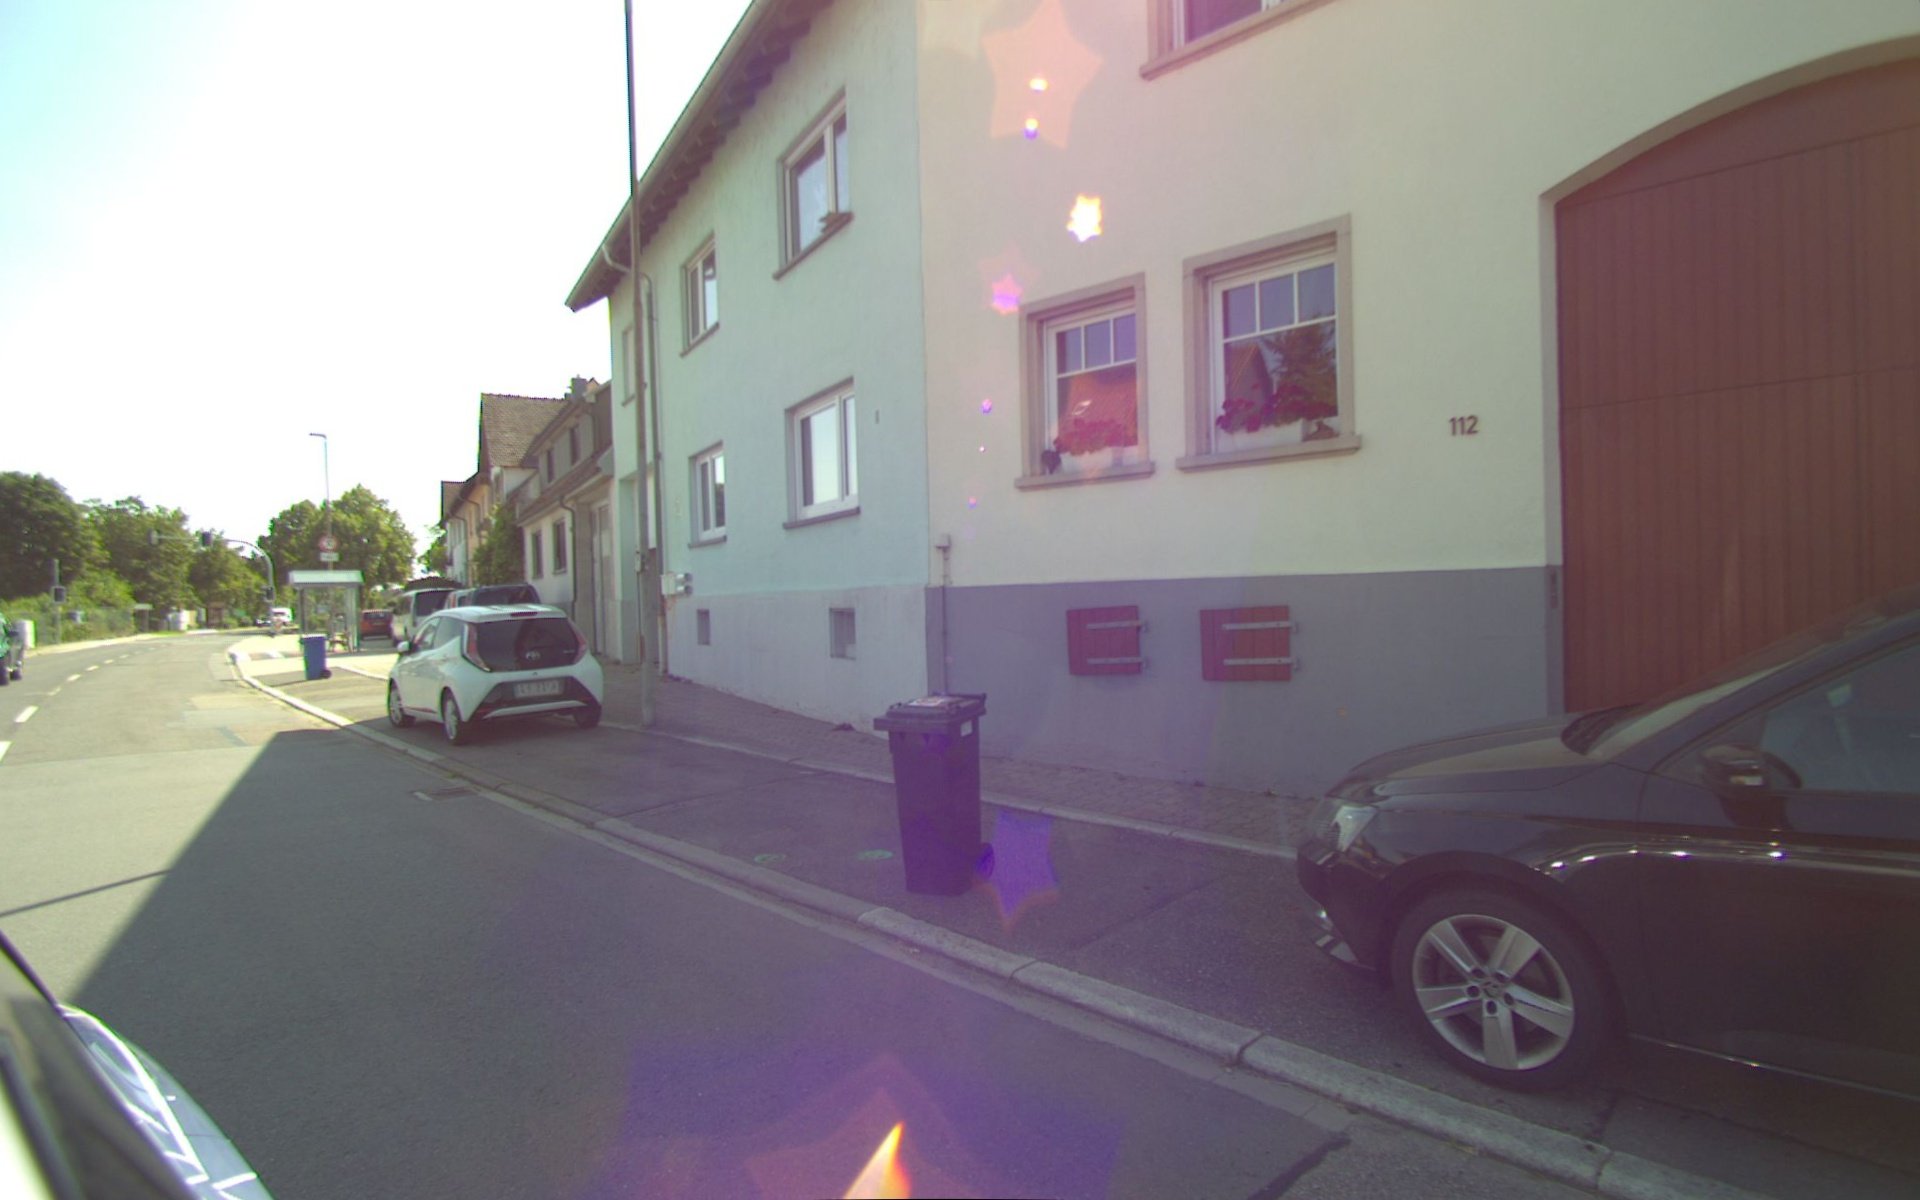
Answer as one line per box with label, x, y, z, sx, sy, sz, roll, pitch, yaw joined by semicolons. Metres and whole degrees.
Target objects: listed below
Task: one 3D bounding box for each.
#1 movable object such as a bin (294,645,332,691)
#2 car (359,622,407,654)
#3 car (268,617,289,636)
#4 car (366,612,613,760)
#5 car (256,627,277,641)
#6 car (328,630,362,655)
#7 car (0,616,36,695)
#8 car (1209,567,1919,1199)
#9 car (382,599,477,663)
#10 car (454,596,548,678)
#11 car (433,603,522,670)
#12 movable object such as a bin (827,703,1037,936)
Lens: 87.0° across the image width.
movable object such as a bin;-13.974;1.467;21.857;0.515;0.943;0.551;-2;0;44
car;-28.410;1.905;49.780;1.692;1.464;3.924;-1;-2;-35
car;-93.351;3.646;138.729;1.907;2.522;5.856;1;-2;-30
car;-5.728;0.901;12.113;1.663;1.473;3.653;0;-1;-42
car;-86.504;4.226;126.259;1.815;1.604;4.118;1;-2;-30
car;-38.954;2.673;64.062;1.691;1.418;4.410;2;-1;-32
car;-22.448;1.276;22.761;1.819;1.709;4.409;-1;-2;-34
car;2.852;0.647;2.586;1.659;1.448;3.998;-4;2;-44
car;-19.277;1.078;36.640;2.099;2.001;5.277;-6;2;-37
car;-11.613;0.893;25.458;1.811;1.806;4.356;-3;0;-28
car;-14.171;1.006;29.575;1.941;1.788;4.289;0;-1;-31
movable object such as a bin;-0.142;1.023;4.973;0.825;0.935;0.546;-2;2;40
